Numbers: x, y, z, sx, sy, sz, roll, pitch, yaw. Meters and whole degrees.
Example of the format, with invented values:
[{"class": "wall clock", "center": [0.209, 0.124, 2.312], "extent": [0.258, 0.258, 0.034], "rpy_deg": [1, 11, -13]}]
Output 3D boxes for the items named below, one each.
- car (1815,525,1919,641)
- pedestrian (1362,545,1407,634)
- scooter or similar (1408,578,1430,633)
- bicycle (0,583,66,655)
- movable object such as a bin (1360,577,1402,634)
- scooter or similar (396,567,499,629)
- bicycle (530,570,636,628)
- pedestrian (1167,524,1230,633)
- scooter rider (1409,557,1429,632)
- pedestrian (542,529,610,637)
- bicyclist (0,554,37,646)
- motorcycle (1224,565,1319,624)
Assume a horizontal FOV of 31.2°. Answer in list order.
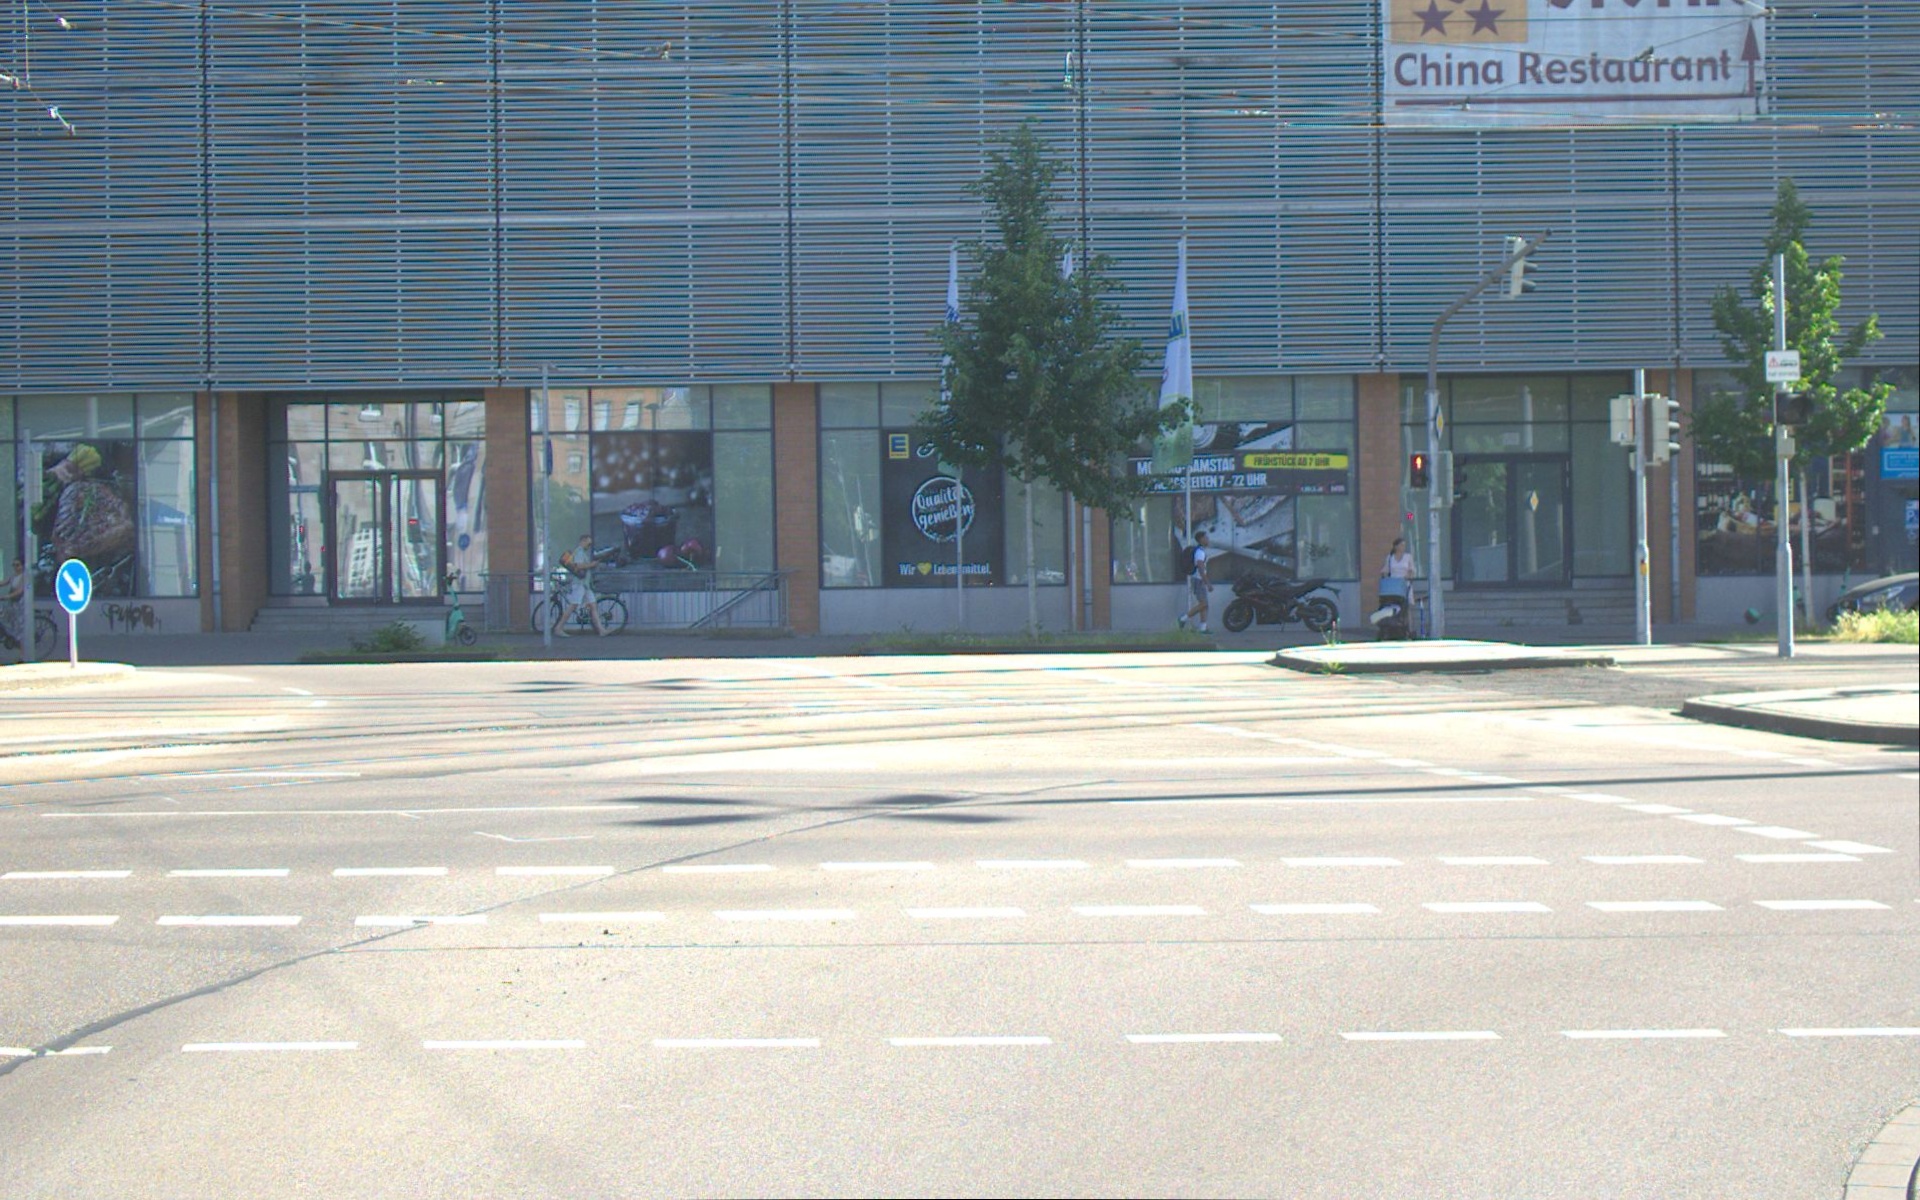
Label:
[{"class": "car", "center": [13.756, -0.141, 45.851], "extent": [4.146, 1.464, 1.841], "rpy_deg": [3, 0, -1]}, {"class": "pedestrian", "center": [6.833, -0.175, 55.274], "extent": [0.655, 1.409, 0.849], "rpy_deg": [1, 0, 10]}, {"class": "scooter or similar", "center": [7.353, 0.077, 55.096], "extent": [0.295, 0.870, 1.003], "rpy_deg": [1, 0, 10]}, {"class": "bicycle", "center": [-15.243, 0.310, 54.865], "extent": [0.568, 1.082, 1.859], "rpy_deg": [1, 3, 43]}, {"class": "movable object such as a bin", "center": [6.714, 0.081, 54.813], "extent": [0.613, 0.901, 0.968], "rpy_deg": [1, 0, 10]}, {"class": "scooter or similar", "center": [-9.076, -0.045, 60.930], "extent": [1.792, 1.062, 0.613], "rpy_deg": [0, 2, -8]}, {"class": "bicycle", "center": [-6.647, -0.016, 60.547], "extent": [1.815, 0.986, 0.558], "rpy_deg": [-1, 2, -10]}, {"class": "pedestrian", "center": [4.100, -0.375, 59.082], "extent": [1.012, 1.822, 1.035], "rpy_deg": [-2, 1, 3]}, {"class": "scooter rider", "center": [7.346, -0.085, 55.034], "extent": [0.288, 1.196, 0.385], "rpy_deg": [1, 0, 10]}, {"class": "pedestrian", "center": [-6.645, -0.294, 59.535], "extent": [0.950, 1.822, 0.846], "rpy_deg": [-2, 1, 5]}, {"class": "bicyclist", "center": [-15.277, 0.001, 54.785], "extent": [0.675, 1.422, 0.847], "rpy_deg": [1, 3, 43]}, {"class": "motorcycle", "center": [5.496, -0.099, 60.640], "extent": [1.640, 1.001, 0.446], "rpy_deg": [1, 1, 6]}]
